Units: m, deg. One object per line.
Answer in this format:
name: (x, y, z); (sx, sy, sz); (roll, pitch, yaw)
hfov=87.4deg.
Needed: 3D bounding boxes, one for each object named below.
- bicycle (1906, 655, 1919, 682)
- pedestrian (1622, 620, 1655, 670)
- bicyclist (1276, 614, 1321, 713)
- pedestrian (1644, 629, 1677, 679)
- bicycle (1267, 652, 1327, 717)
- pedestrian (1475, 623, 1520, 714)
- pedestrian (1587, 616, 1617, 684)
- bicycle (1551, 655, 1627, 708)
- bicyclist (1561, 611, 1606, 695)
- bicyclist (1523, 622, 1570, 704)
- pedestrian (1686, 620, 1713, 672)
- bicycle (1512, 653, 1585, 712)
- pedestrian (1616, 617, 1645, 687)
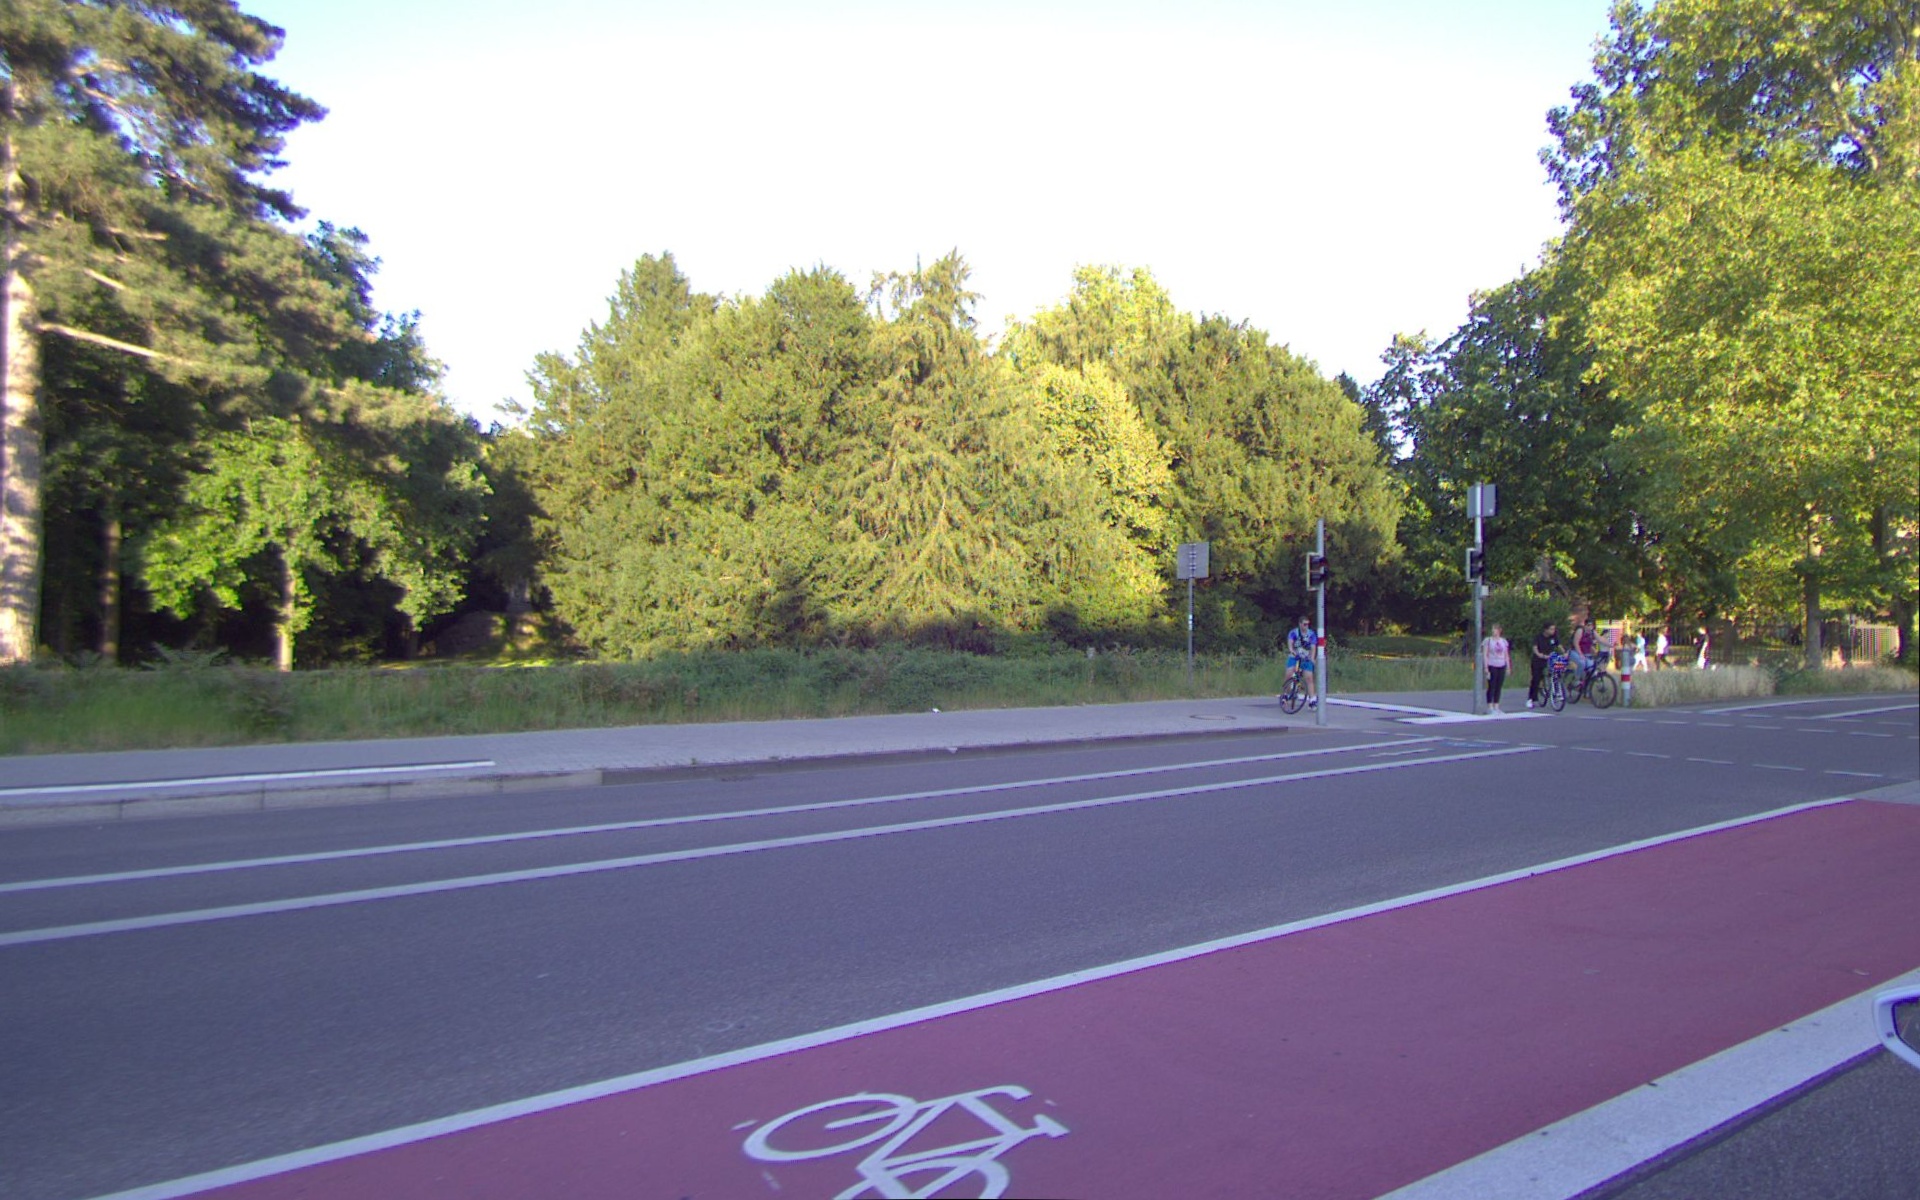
bicycle: (34.919, 2.429, 35.225); (0.765, 0.936, 2.420); (1, -2, -28)
pedestrian: (28.167, 1.856, 41.694); (0.982, 2.040, 0.799); (1, 0, -30)
bicyclist: (6.488, 1.194, 19.244); (0.723, 1.848, 0.711); (1, 0, 26)
pedestrian: (29.310, 2.257, 42.046); (1.064, 2.040, 0.757); (1, 0, -30)
bicycle: (6.477, 1.585, 19.233); (0.758, 1.115, 2.119); (0, -2, 28)
pedestrian: (10.423, 1.312, 19.487); (0.492, 1.718, 0.604); (1, -1, -28)
pedestrian: (19.736, 1.527, 30.892); (0.638, 2.040, 0.606); (1, 0, 22)
bicycle: (13.514, 1.735, 21.639); (0.568, 1.043, 1.772); (0, -1, 2)
bicyclist: (13.527, 1.146, 21.809); (0.564, 1.804, 0.640); (0, -1, 1)
bicyclist: (12.124, 1.286, 20.777); (0.618, 1.671, 0.640); (0, -1, 1)
pedestrian: (29.506, 1.814, 40.070); (0.692, 2.040, 0.637); (1, -1, -28)
bicycle: (12.118, 1.676, 20.717); (0.620, 1.126, 1.569); (0, -1, 2)
pedestrian: (20.026, 1.542, 30.012); (0.584, 2.040, 0.642); (1, 0, 21)
